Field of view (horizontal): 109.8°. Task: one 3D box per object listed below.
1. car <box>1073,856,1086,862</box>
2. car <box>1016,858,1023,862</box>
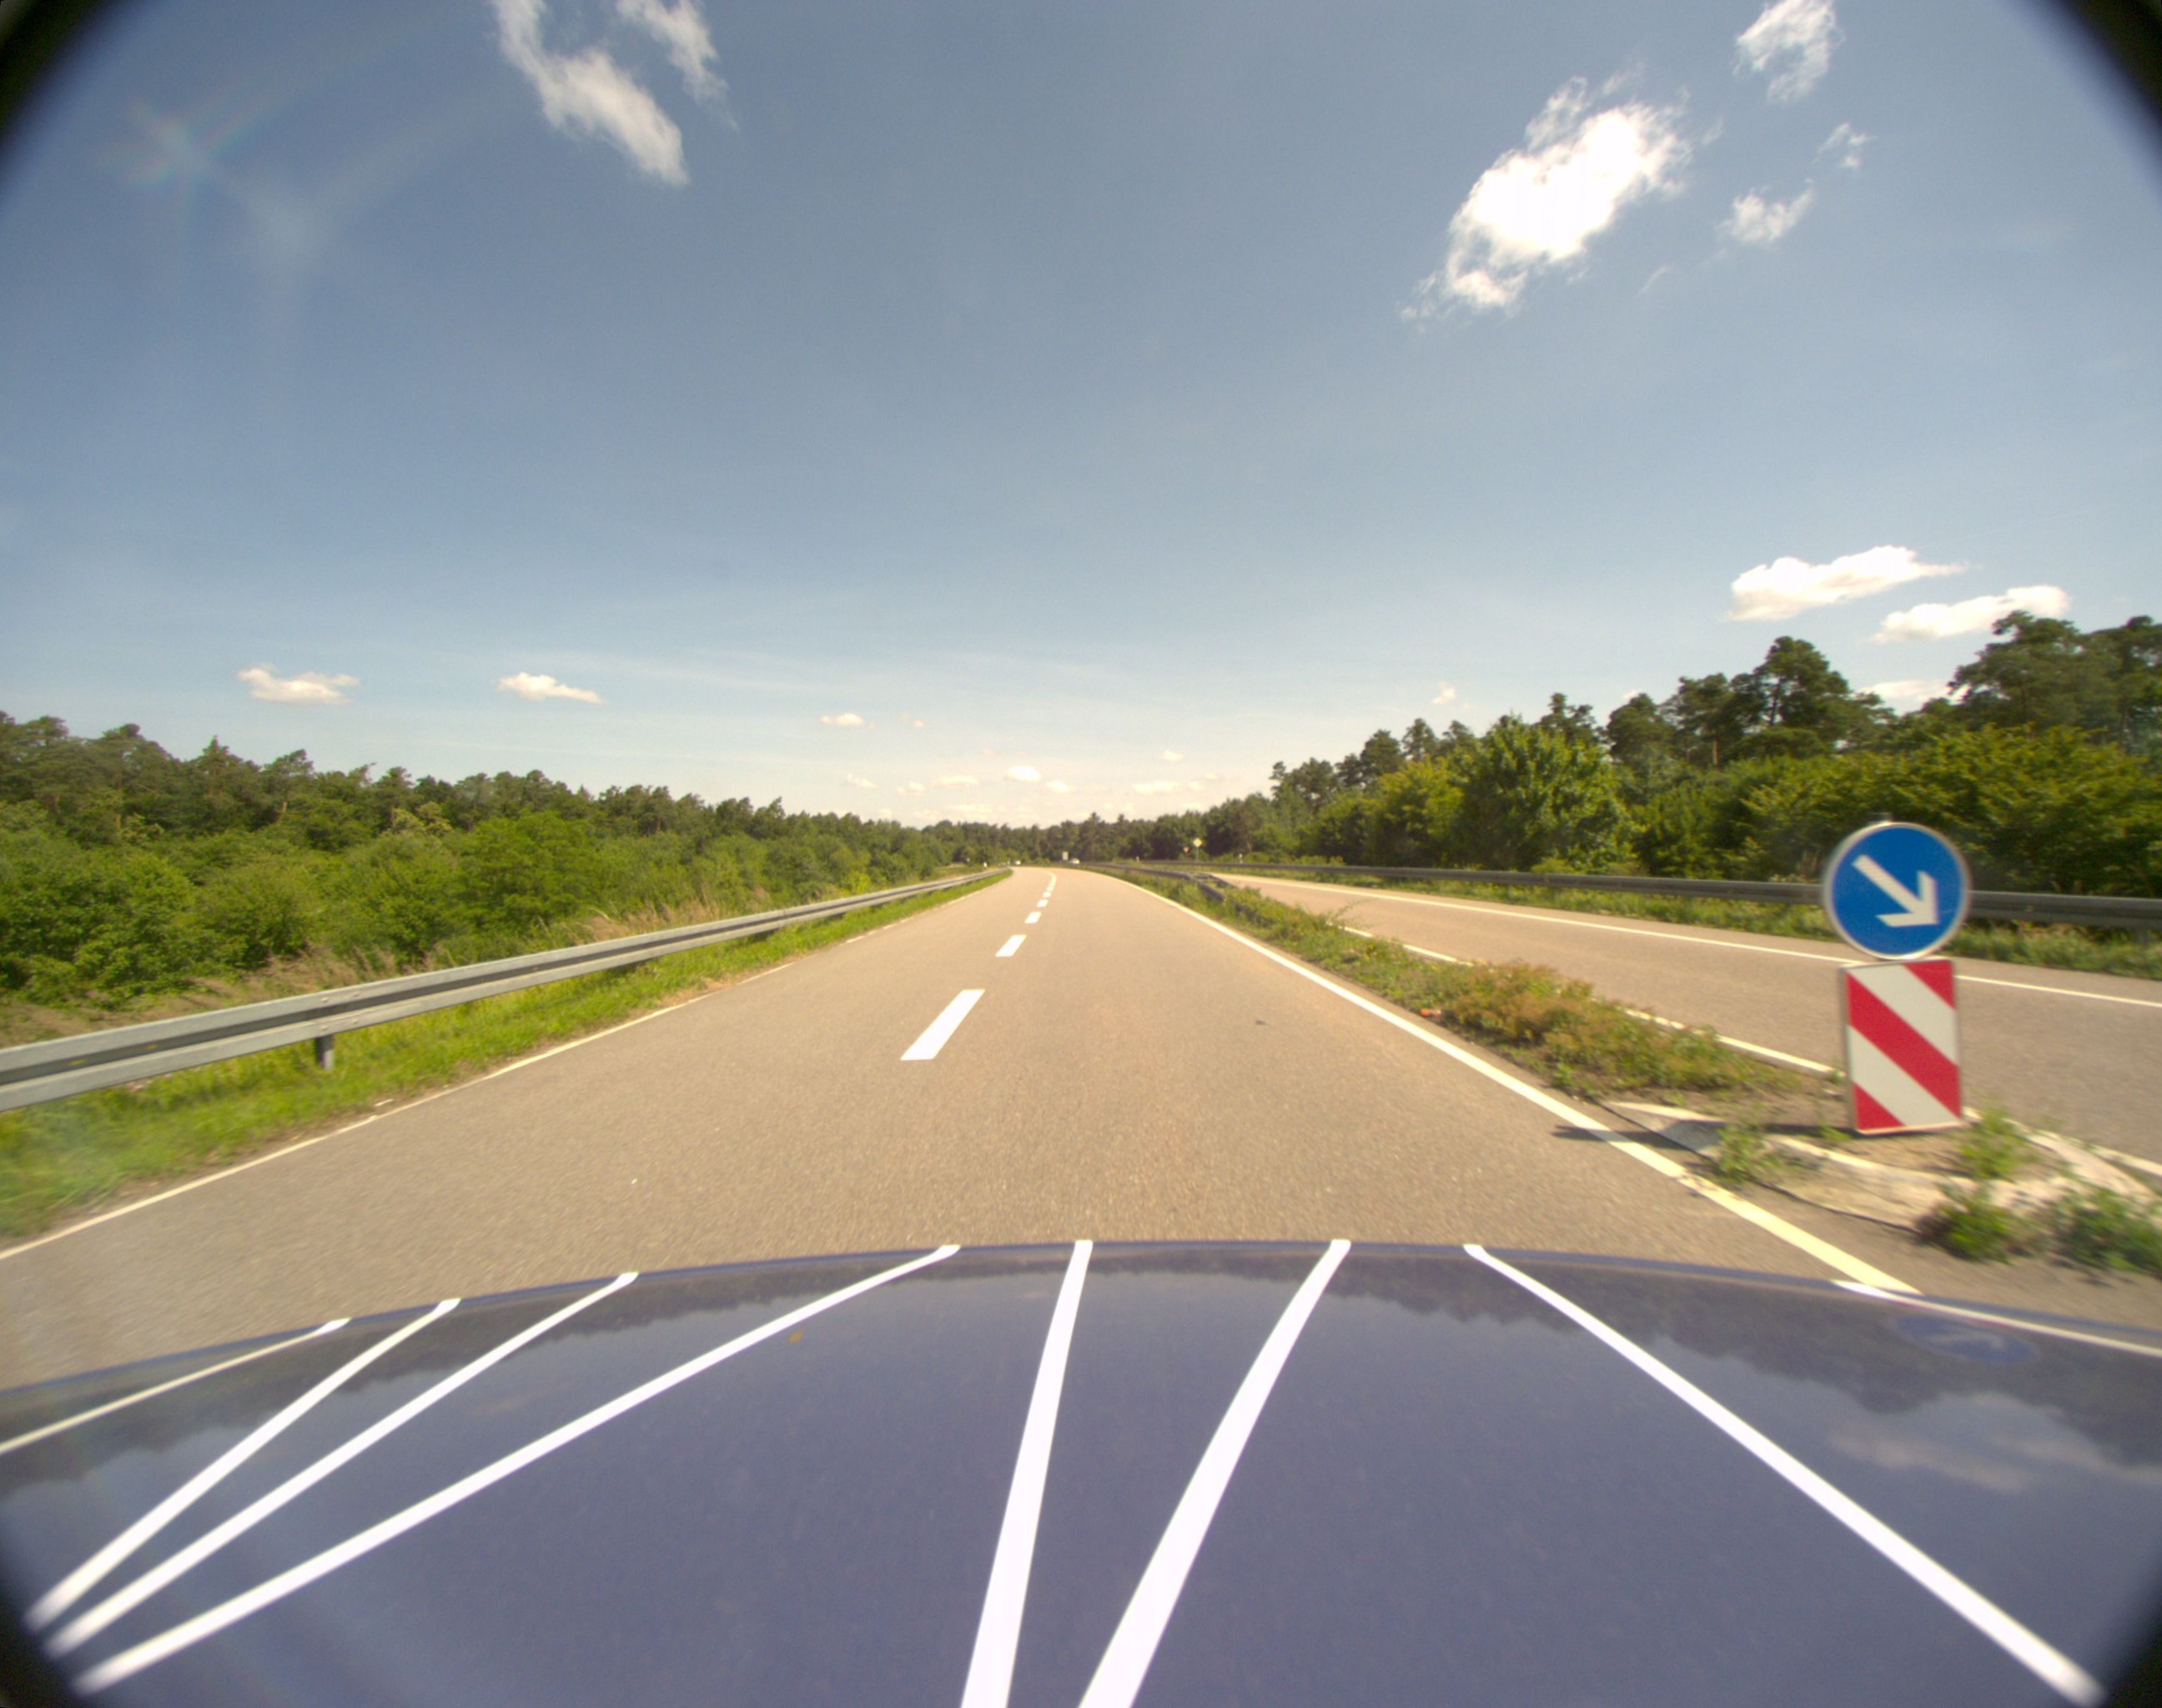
[{"bbox_3d":[-0.305,1.104,169.557,1.955,1.405,4.828,-1,0,-13],"label":"car"},{"bbox_3d":[-19.664,1.926,243.579,1.684,1.419,4.207,-2,0,-12],"label":"car"}]
